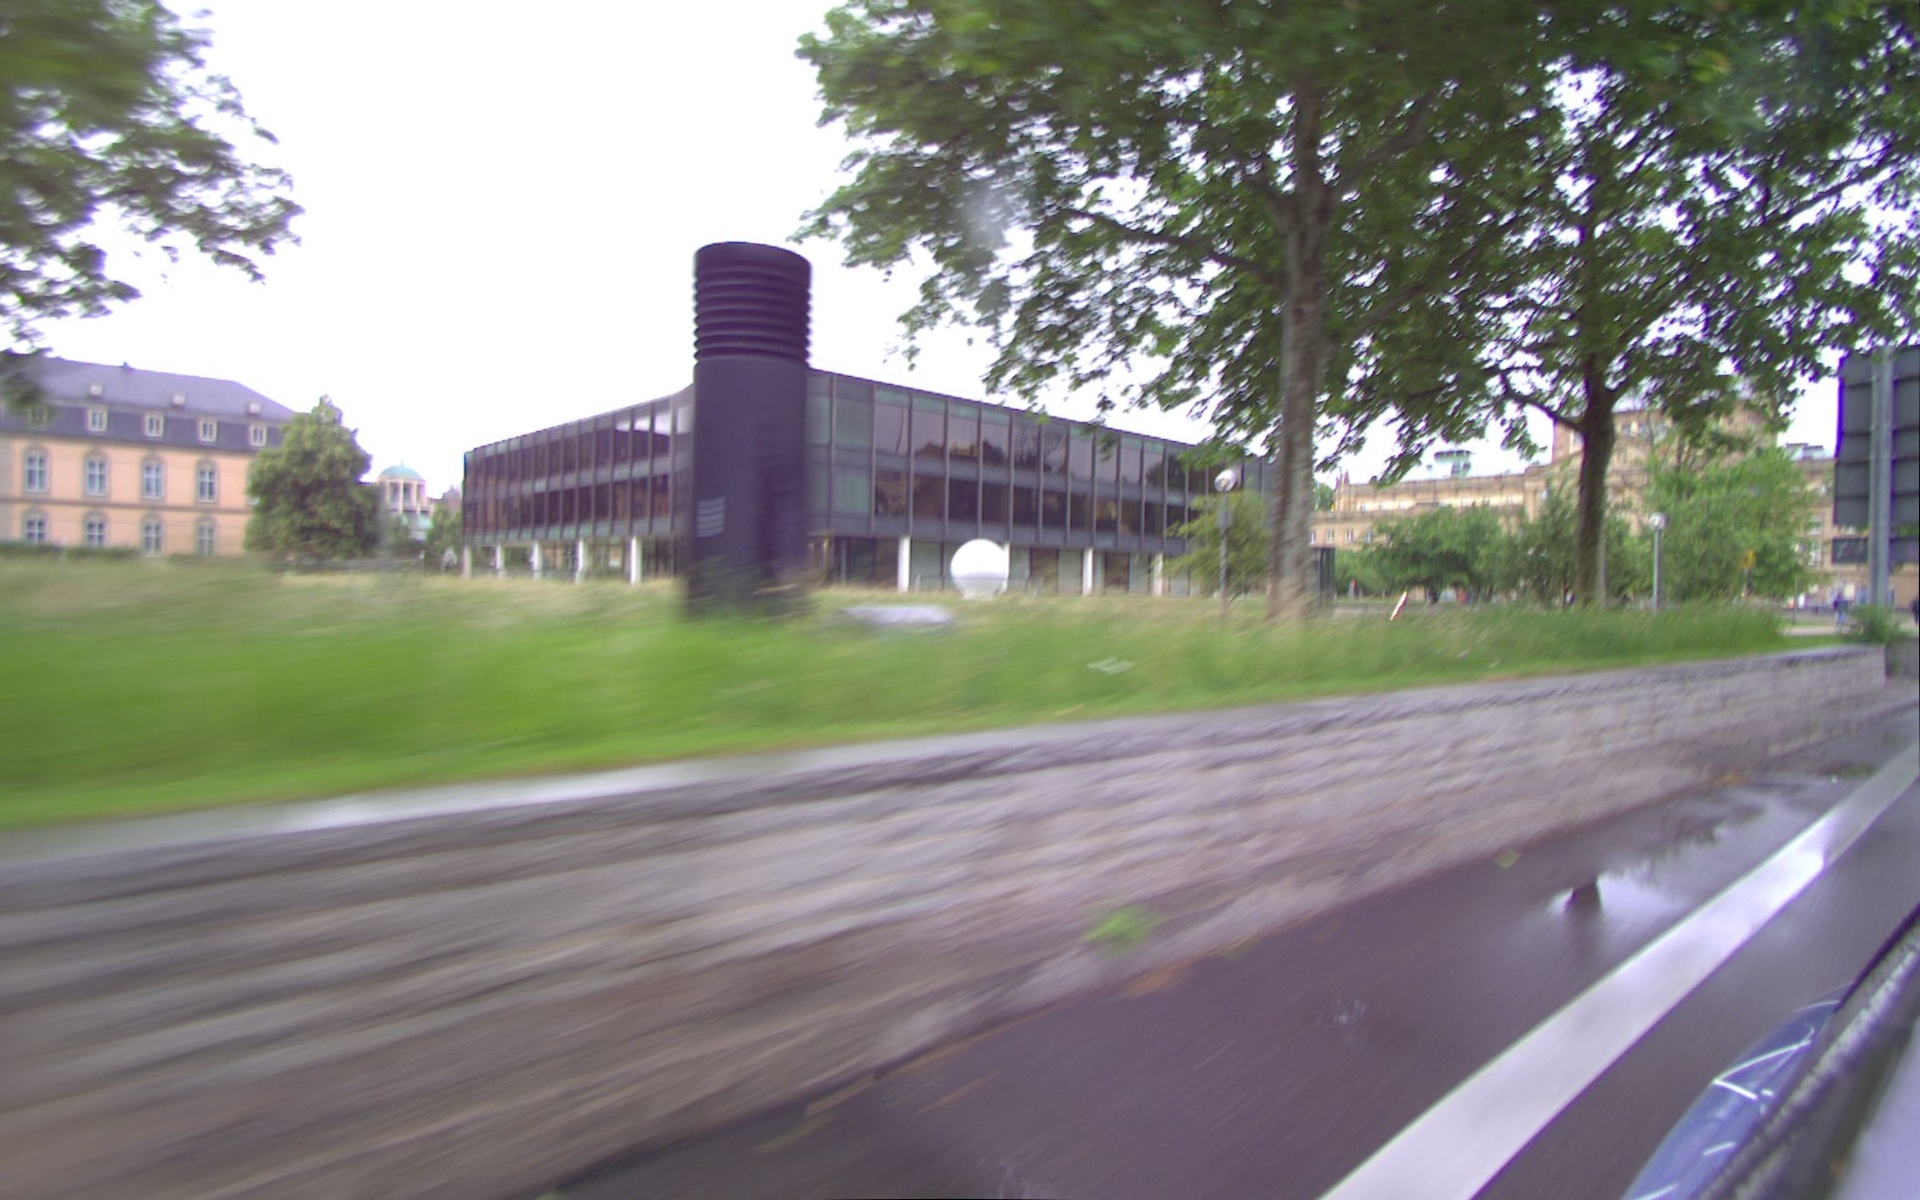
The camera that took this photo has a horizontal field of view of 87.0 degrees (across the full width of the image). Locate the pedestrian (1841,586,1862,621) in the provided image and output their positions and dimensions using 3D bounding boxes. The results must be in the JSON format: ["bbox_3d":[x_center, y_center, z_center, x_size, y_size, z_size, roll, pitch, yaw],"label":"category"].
[{"bbox_3d":[43.608,0.179,49.511,0.666,1.686,0.582,2,1,33],"label":"pedestrian"}]
